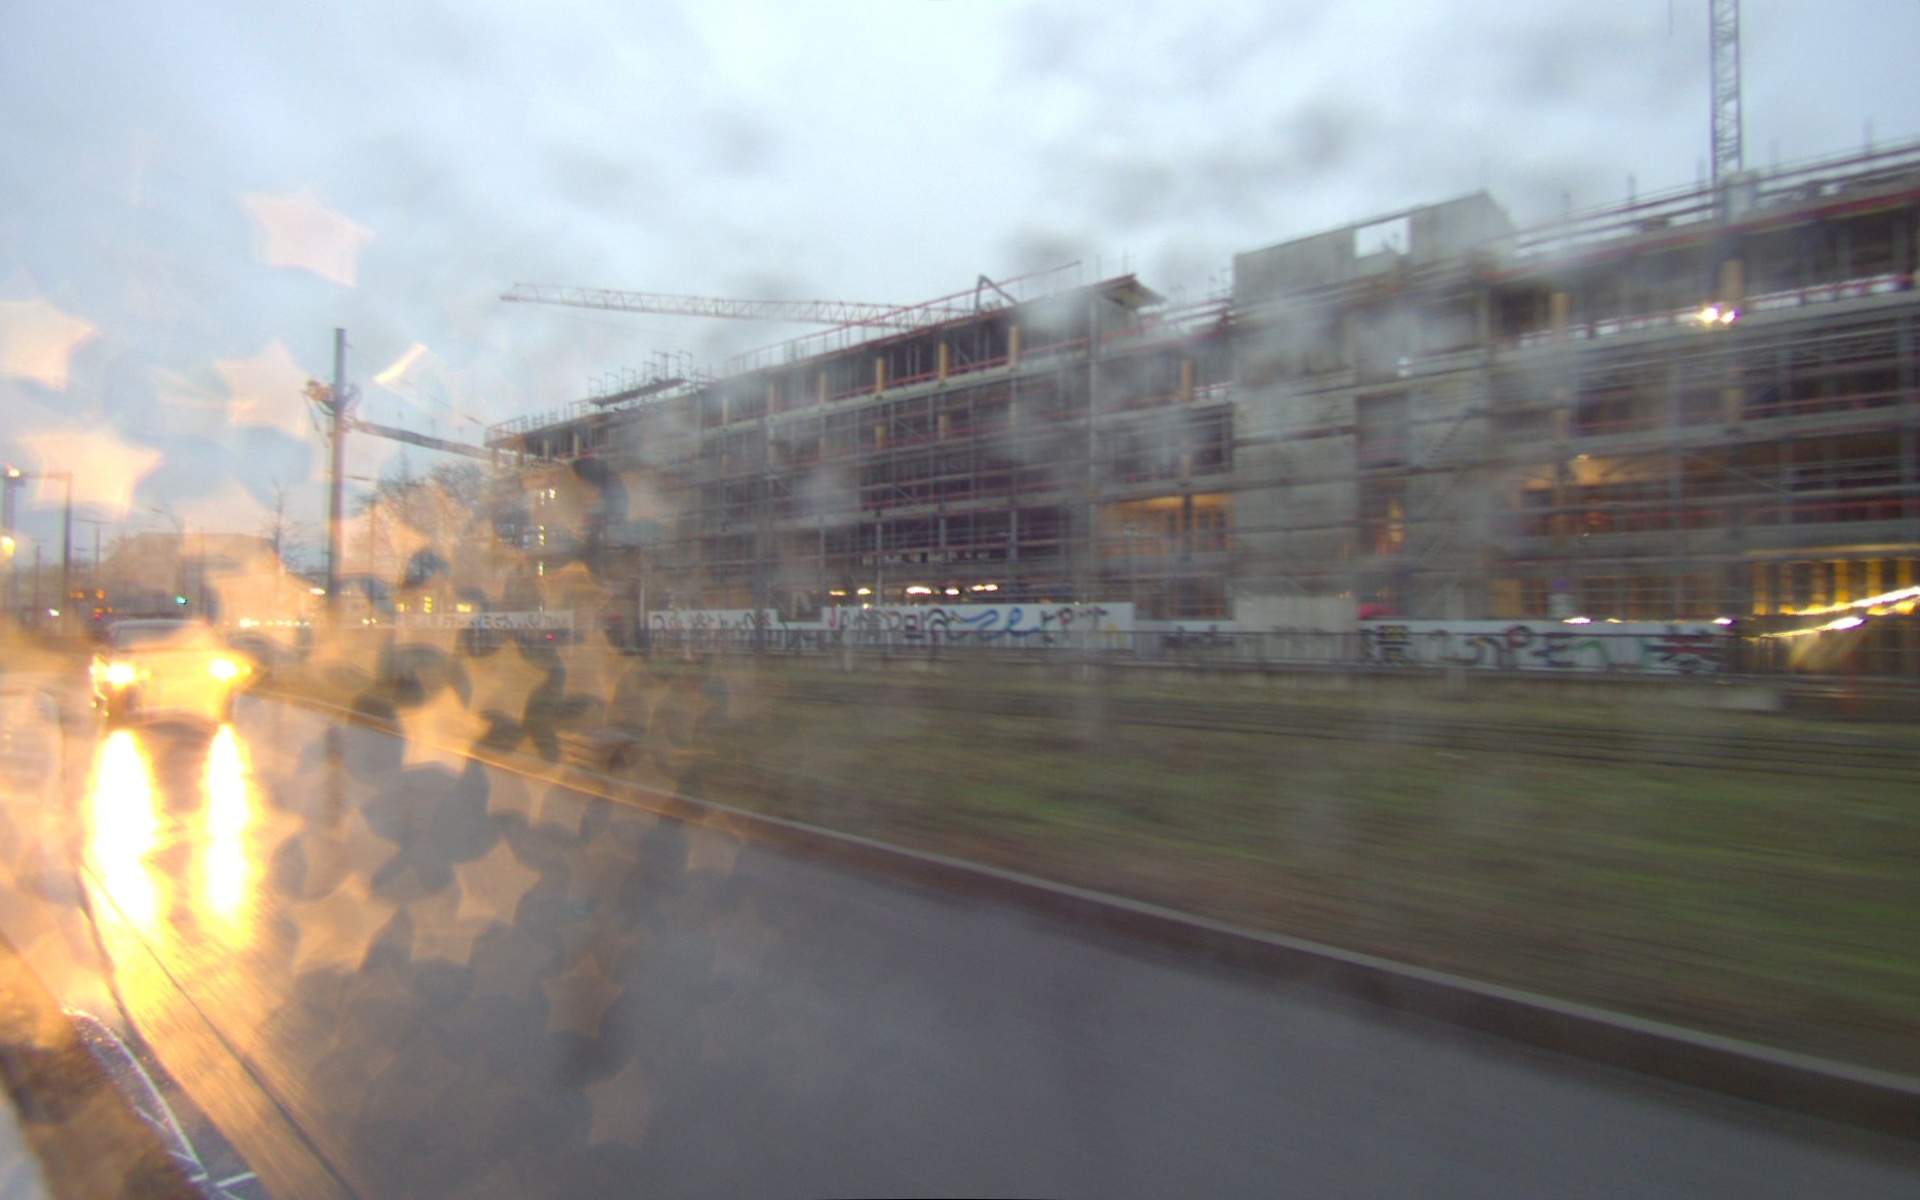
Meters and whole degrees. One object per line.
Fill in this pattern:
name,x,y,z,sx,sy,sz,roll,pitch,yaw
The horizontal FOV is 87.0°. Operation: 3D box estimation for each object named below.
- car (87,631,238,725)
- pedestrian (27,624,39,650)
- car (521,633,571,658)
car,-14.092,1.286,17.800,1.783,1.464,4.009,2,-3,-42
pedestrian,-64.005,2.554,69.854,0.576,1.714,0.741,0,-1,-39
car,-28.782,3.161,70.289,3.762,1.675,1.736,-3,-3,41
